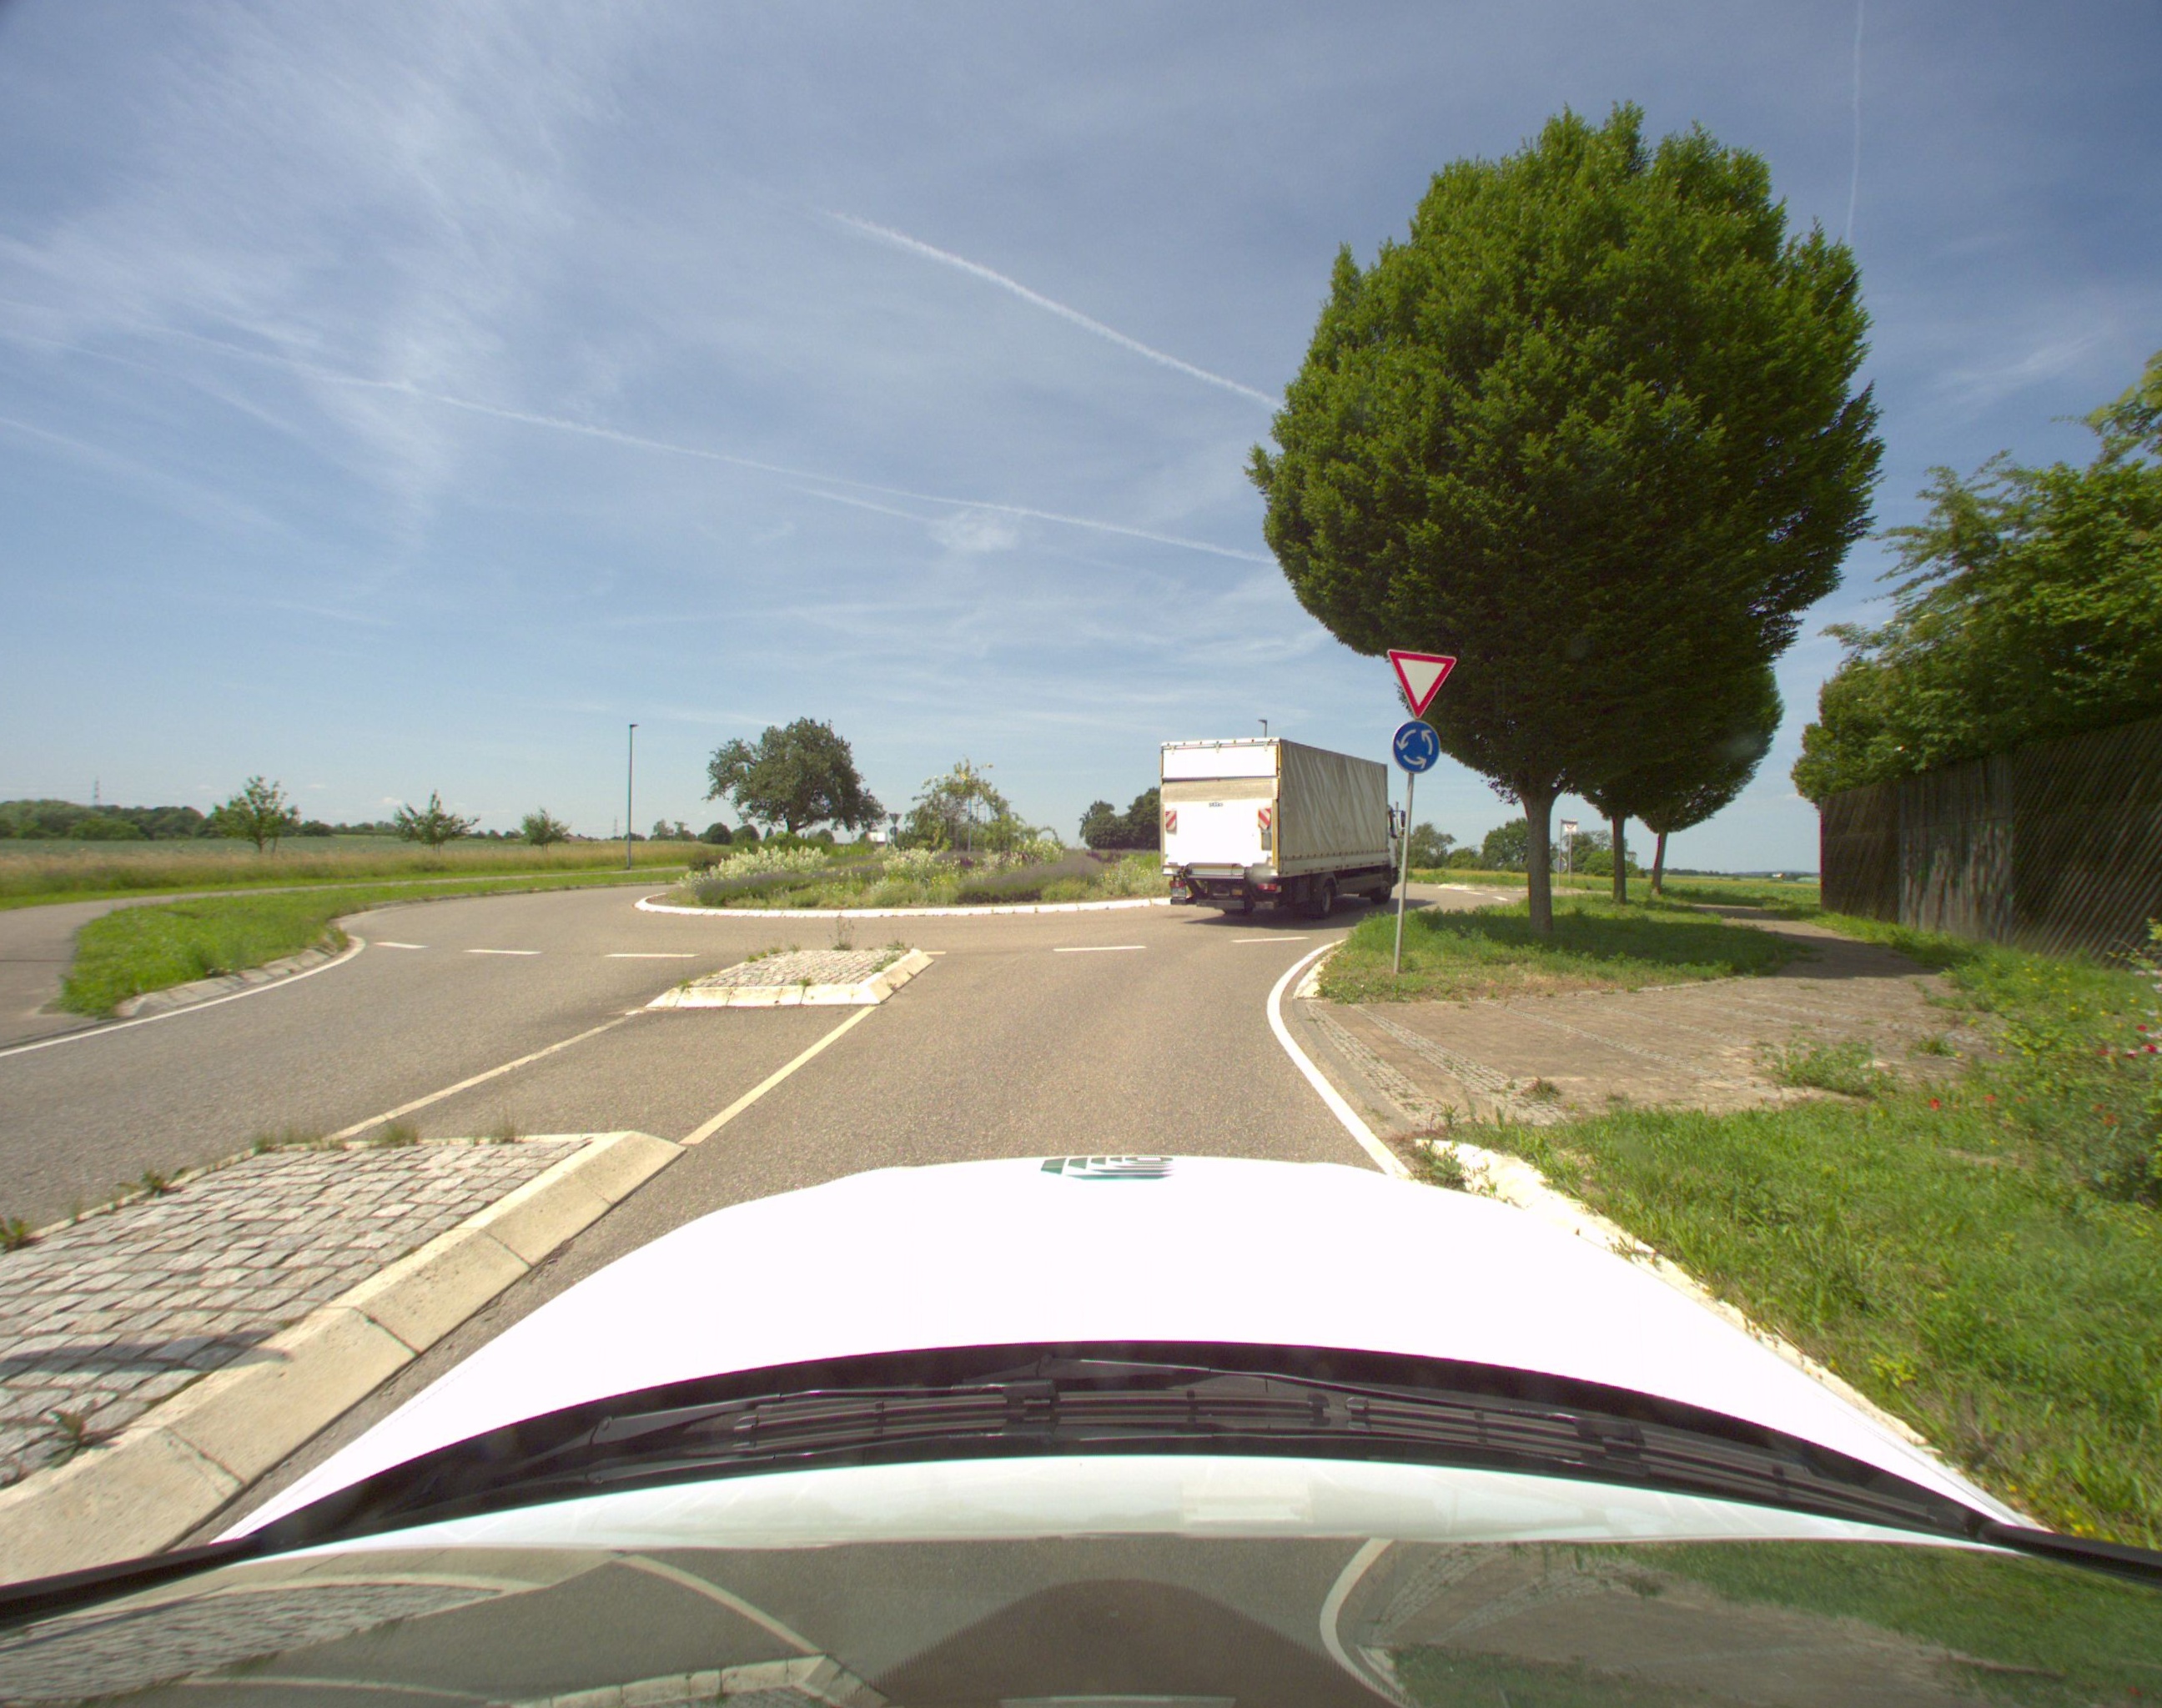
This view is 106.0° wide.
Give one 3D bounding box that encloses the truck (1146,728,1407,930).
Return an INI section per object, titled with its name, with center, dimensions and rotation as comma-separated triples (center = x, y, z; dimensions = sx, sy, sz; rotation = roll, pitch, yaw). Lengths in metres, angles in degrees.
[truck]
center = 5.163, -0.525, 19.429
dimensions = 2.740, 3.670, 9.443
rotation = 0, 1, 35
